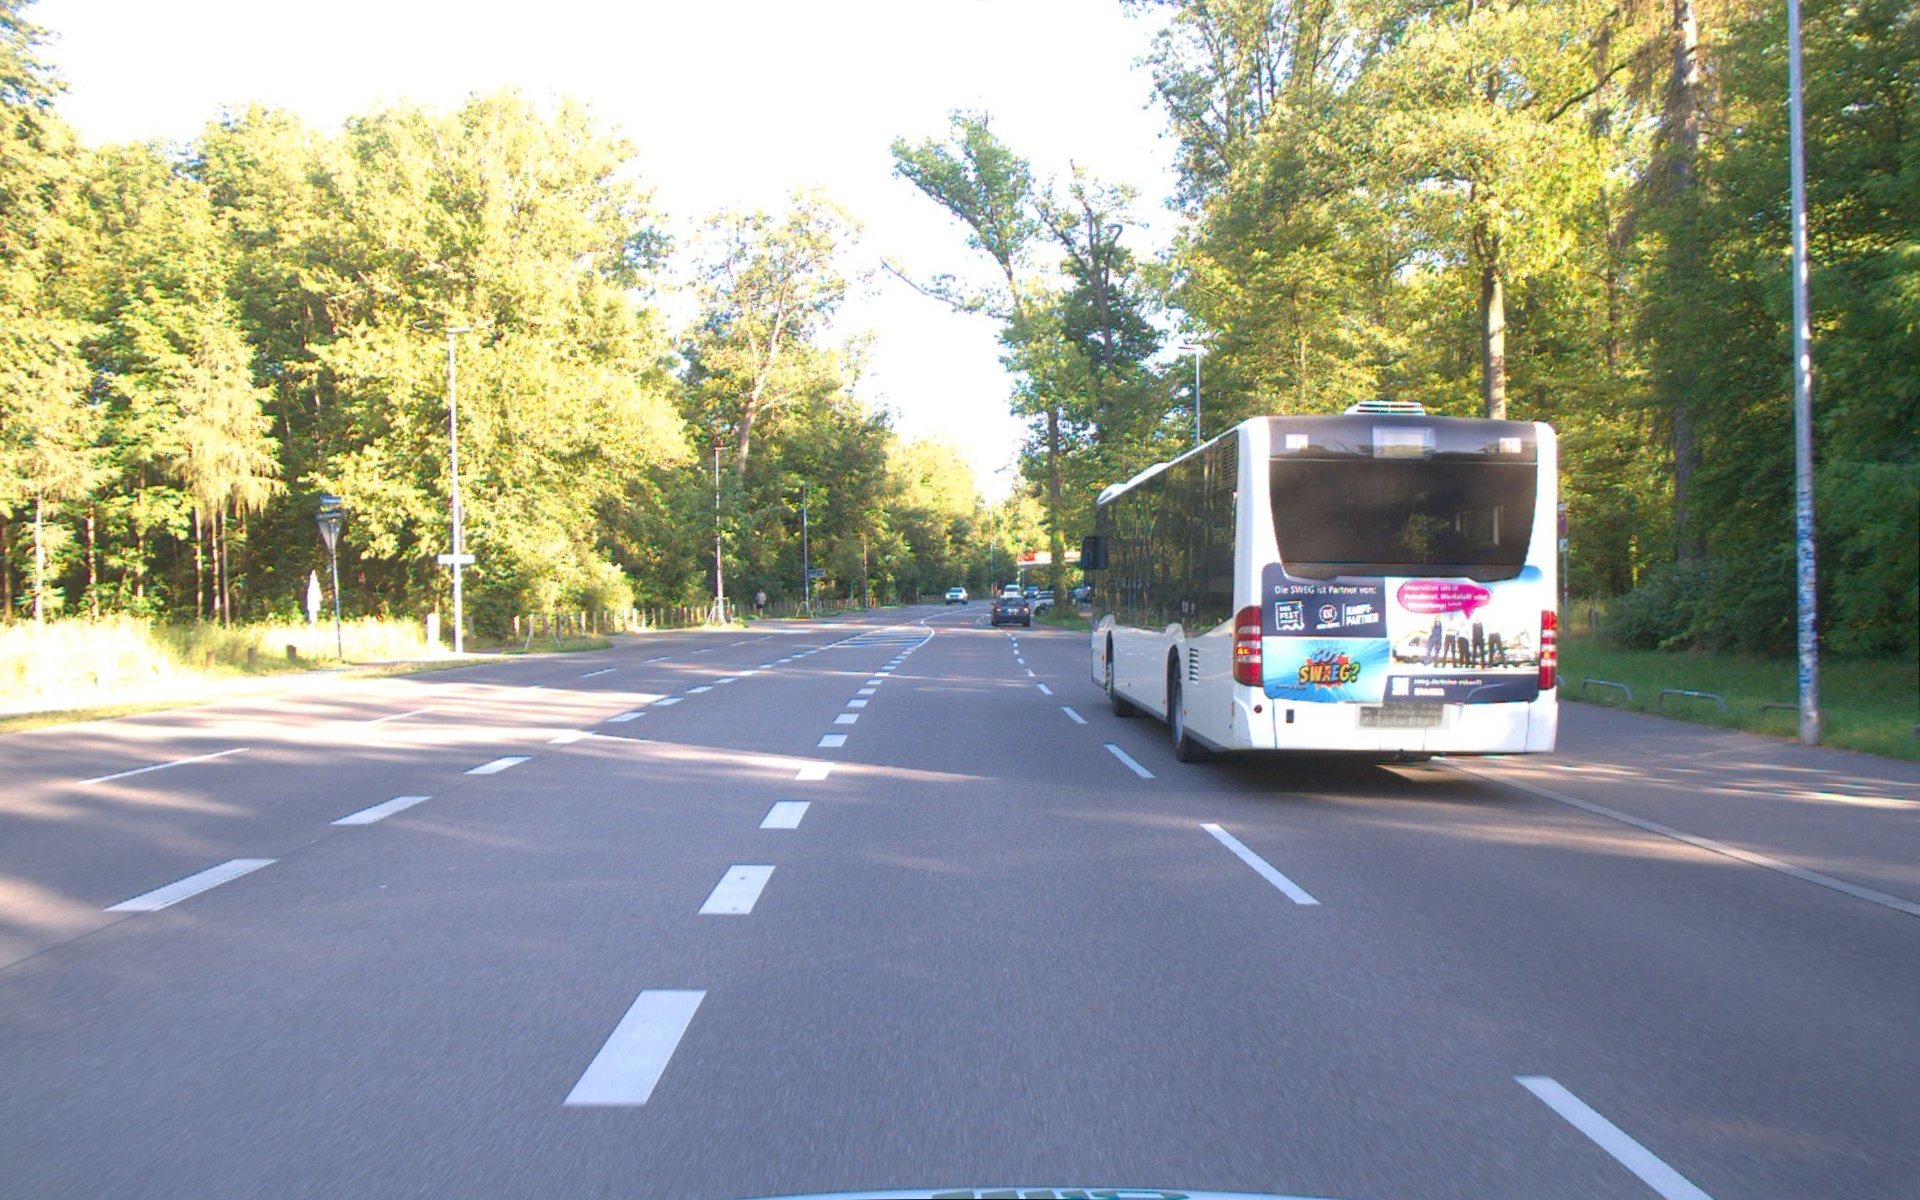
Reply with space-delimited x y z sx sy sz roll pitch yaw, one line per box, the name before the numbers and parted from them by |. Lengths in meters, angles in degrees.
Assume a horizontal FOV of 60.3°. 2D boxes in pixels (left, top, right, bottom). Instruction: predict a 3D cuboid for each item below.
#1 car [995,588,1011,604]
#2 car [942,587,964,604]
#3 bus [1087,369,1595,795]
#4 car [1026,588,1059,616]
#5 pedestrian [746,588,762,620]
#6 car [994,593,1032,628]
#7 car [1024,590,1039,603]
car | 4.781 -0.440 184.309 1.824 1.759 4.000 0 0 1
car | -0.633 -0.426 161.002 1.824 1.564 4.134 0 0 4
bus | 3.257 -0.118 18.116 2.635 3.096 12.038 0 0 -1
car | 5.053 0.127 101.022 1.597 1.688 4.135 0 0 9
pedestrian | -11.784 0.224 94.617 0.763 1.844 0.770 0 0 0
car | 2.484 0.471 77.147 1.597 1.574 4.134 0 0 4
car | 9.085 -0.413 209.438 1.824 1.592 4.001 -2 0 2
